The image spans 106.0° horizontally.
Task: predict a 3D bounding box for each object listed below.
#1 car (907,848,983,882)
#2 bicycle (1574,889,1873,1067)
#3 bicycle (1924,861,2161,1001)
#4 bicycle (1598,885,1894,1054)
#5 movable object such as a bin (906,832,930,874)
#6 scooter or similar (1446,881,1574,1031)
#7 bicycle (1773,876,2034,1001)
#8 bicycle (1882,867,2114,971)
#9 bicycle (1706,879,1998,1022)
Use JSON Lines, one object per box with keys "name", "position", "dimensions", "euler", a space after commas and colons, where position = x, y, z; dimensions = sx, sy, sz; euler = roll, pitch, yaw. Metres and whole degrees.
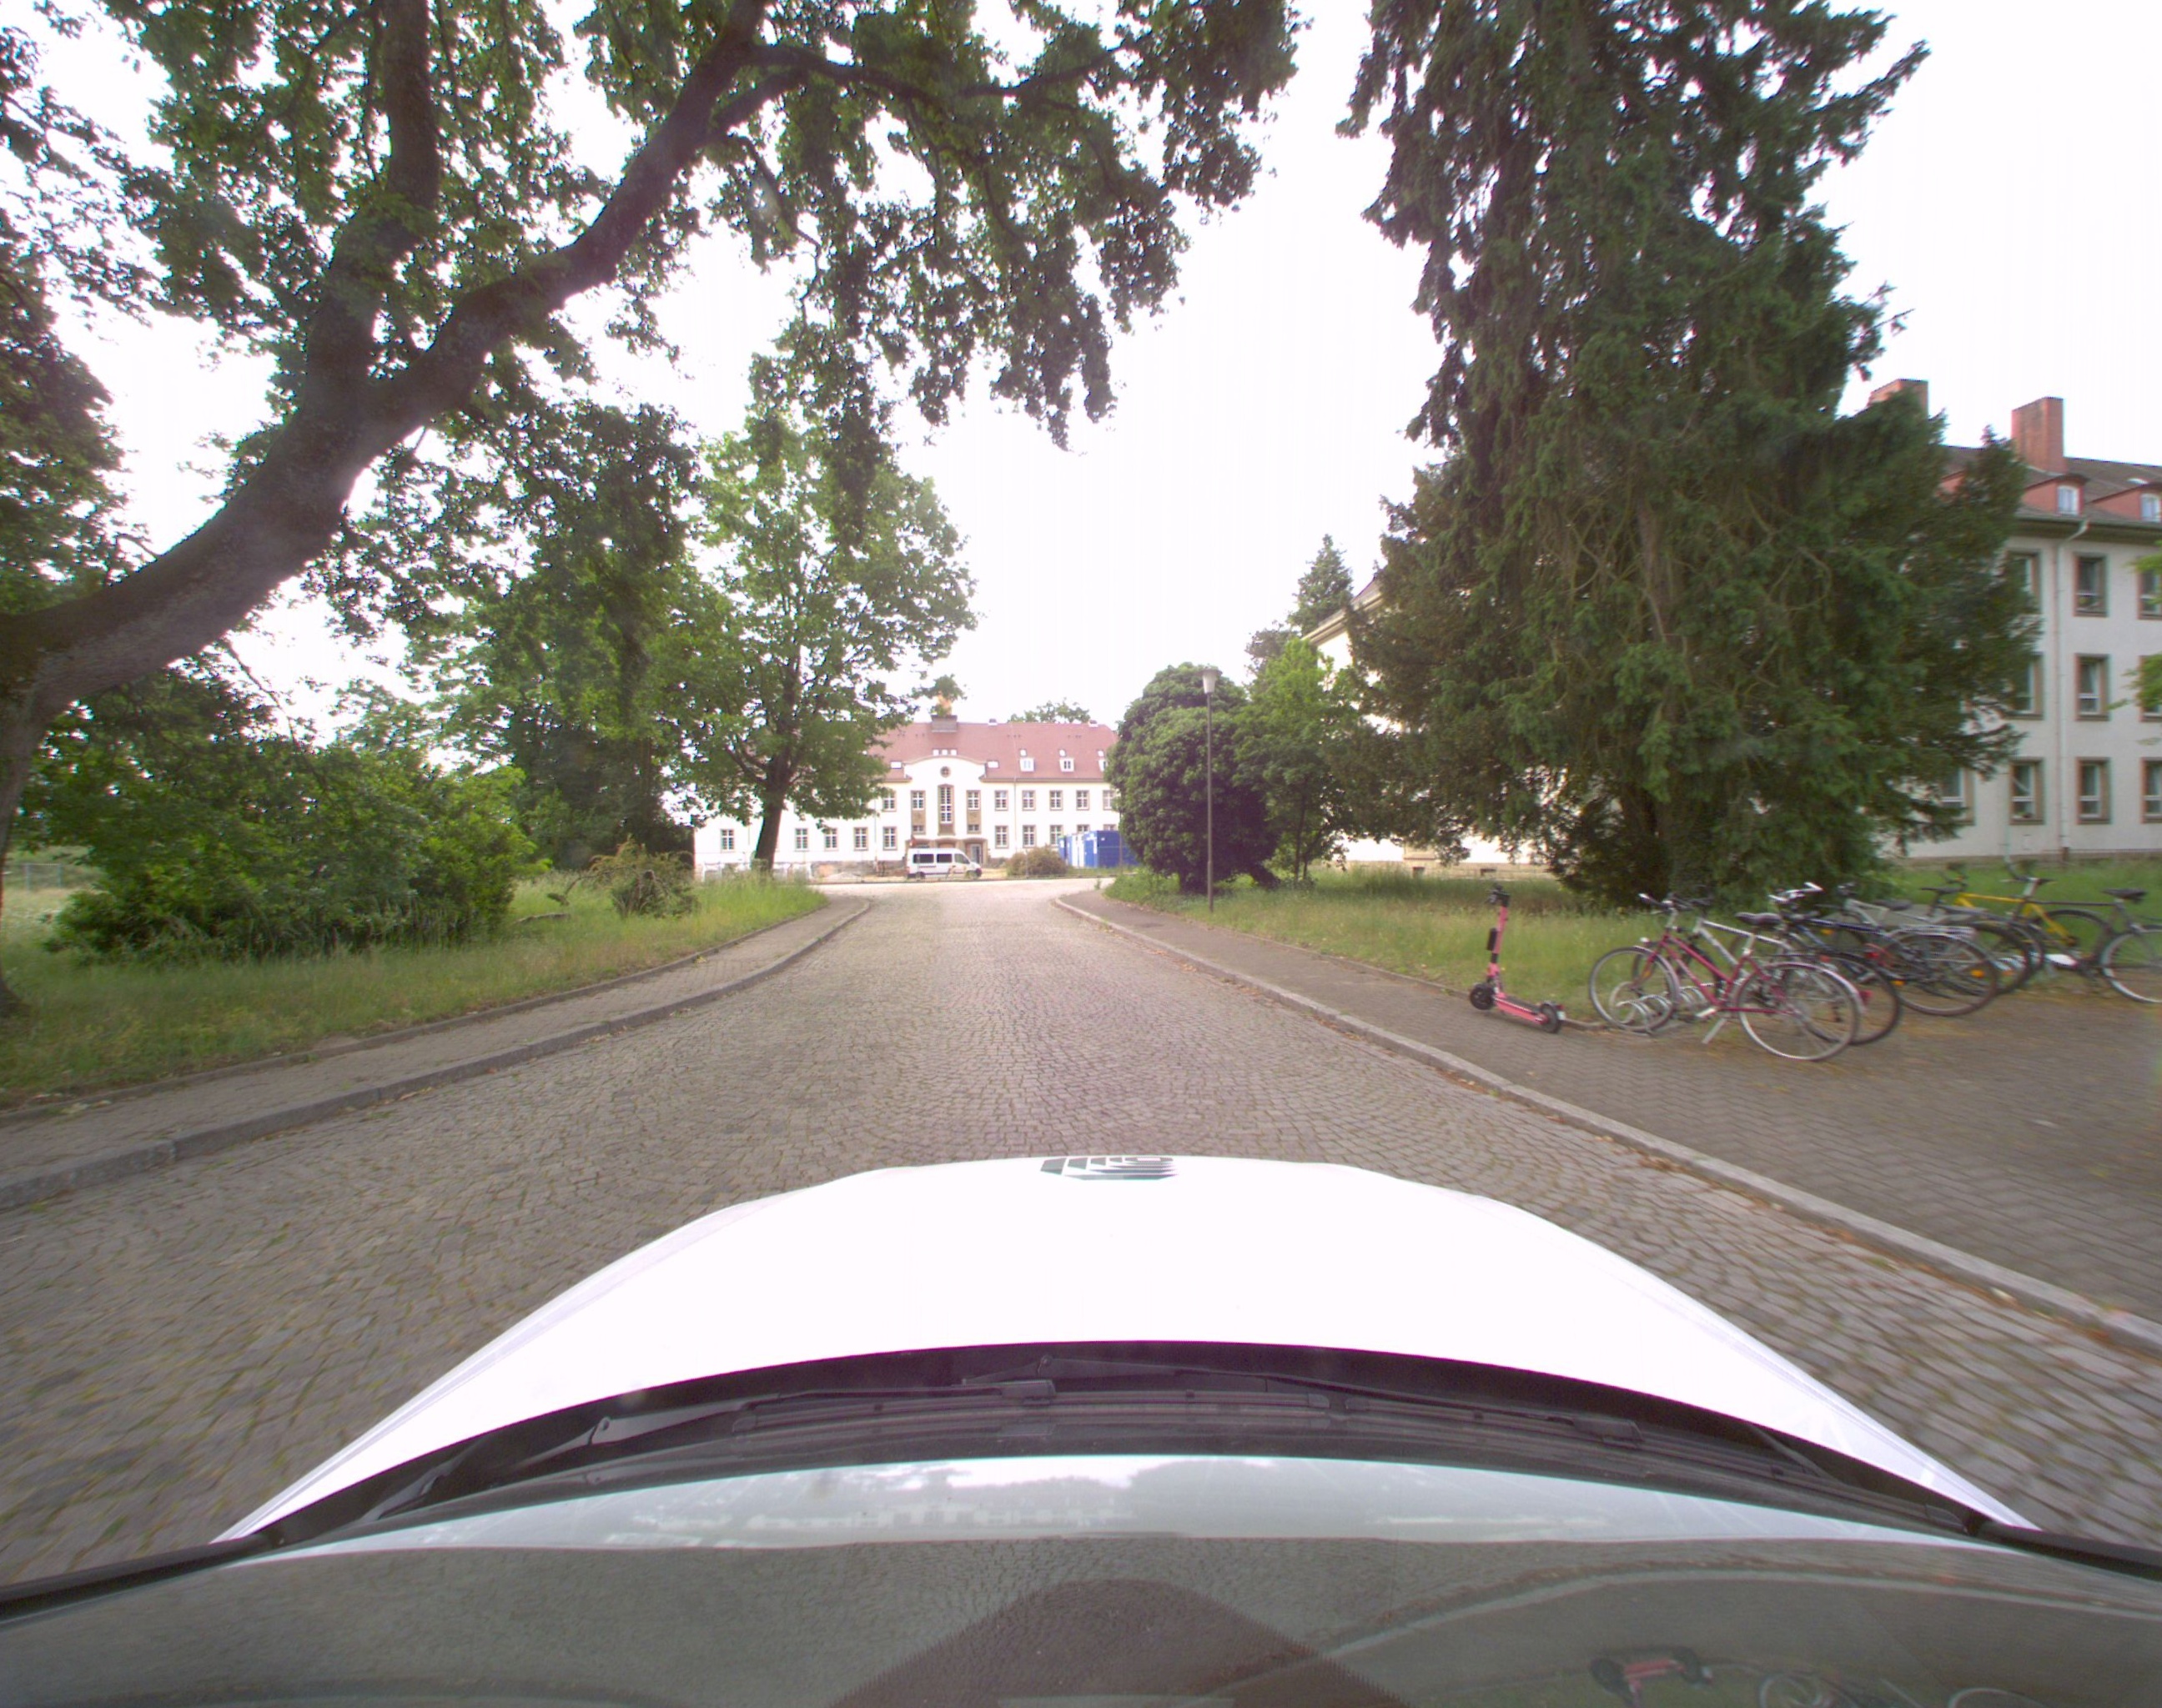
{"name": "car", "position": [-9.791, 0.779, 58.697], "dimensions": [5.261, 2.344, 1.904], "euler": [-1, 0, -9]}
{"name": "bicycle", "position": [4.892, 0.865, 6.351], "dimensions": [0.553, 1.114, 1.754], "euler": [-1, 0, -28]}
{"name": "bicycle", "position": [9.209, 0.657, 7.634], "dimensions": [0.551, 1.171, 1.743], "euler": [-1, 0, -18]}
{"name": "bicycle", "position": [5.300, 0.847, 6.637], "dimensions": [0.553, 1.114, 1.789], "euler": [-1, 0, -28]}
{"name": "movable object such as a bin", "position": [-15.490, -0.104, 77.067], "dimensions": [1.996, 3.771, 5.292], "euler": [-1, 0, -14]}
{"name": "scooter or similar", "position": [3.860, 0.874, 7.405], "dimensions": [0.357, 1.209, 1.132], "euler": [-1, 0, -14]}
{"name": "bicycle", "position": [8.041, 0.765, 8.048], "dimensions": [0.554, 1.065, 1.735], "euler": [-1, 0, -36]}
{"name": "bicycle", "position": [10.387, 0.689, 9.309], "dimensions": [0.552, 1.042, 1.670], "euler": [-1, 0, -24]}
{"name": "bicycle", "position": [6.809, 0.786, 7.298], "dimensions": [0.621, 1.065, 1.806], "euler": [-1, 0, -36]}
